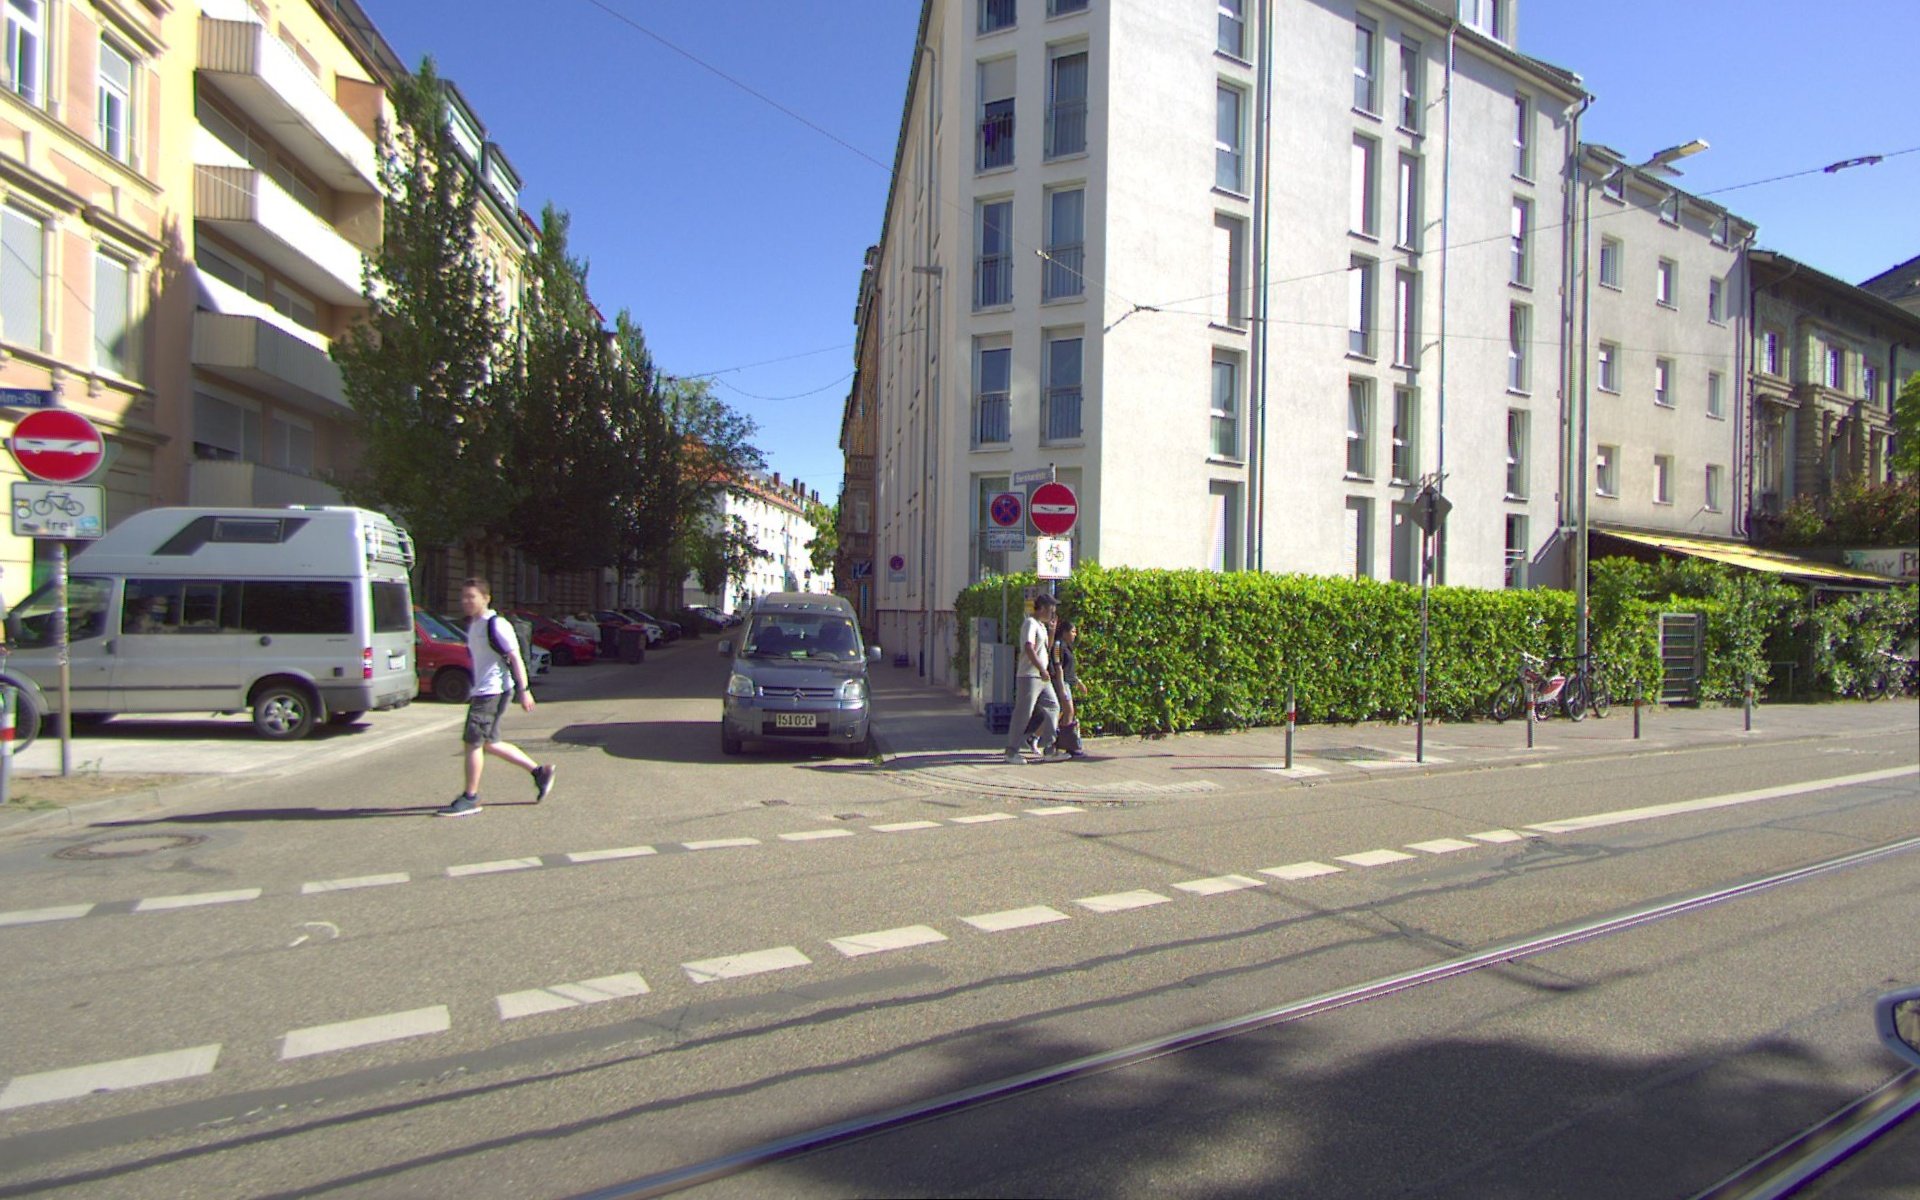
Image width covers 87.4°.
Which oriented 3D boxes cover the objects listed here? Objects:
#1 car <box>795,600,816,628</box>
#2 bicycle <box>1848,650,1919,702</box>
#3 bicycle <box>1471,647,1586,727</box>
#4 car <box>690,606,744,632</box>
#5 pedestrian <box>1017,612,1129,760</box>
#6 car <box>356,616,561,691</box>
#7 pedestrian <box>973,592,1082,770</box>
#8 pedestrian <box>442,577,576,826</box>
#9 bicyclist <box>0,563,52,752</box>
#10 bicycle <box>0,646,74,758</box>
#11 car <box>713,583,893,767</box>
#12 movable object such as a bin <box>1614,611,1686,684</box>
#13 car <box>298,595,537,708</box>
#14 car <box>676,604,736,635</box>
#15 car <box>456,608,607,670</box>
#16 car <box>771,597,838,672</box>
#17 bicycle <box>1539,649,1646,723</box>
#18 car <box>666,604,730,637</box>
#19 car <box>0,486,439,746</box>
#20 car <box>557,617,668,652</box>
[{"bbox_3d":[-14.372,1.321,93.502,1.782,2.449,3.994,2,-1,-9],"label":"car"},{"bbox_3d":[20.678,1.683,22.484,1.722,1.073,0.635,1,2,-30],"label":"bicycle"},{"bbox_3d":[8.751,1.320,15.449,1.818,1.104,0.658,2,2,-30],"label":"bicycle"},{"bbox_3d":[-19.405,1.540,80.311,3.928,1.867,1.997,2,-1,-9],"label":"car"},{"bbox_3d":[1.229,0.906,11.005,0.750,1.497,0.946,1,1,-37],"label":"pedestrian"},{"bbox_3d":[-10.570,1.127,21.402,3.529,1.419,1.573,2,-1,-9],"label":"car"},{"bbox_3d":[0.692,0.805,10.442,0.750,1.737,0.800,1,1,-37],"label":"pedestrian"},{"bbox_3d":[-3.489,0.739,7.759,0.856,1.791,0.688,1,-1,-30],"label":"pedestrian"},{"bbox_3d":[-10.028,0.555,10.150,0.968,1.878,0.705,2,-1,-10],"label":"bicyclist"},{"bbox_3d":[-10.217,0.996,10.110,1.802,1.069,0.705,2,-1,-10],"label":"bicycle"},{"bbox_3d":[-1.904,0.822,12.308,1.759,1.831,4.048,2,-1,-9],"label":"car"},{"bbox_3d":[14.442,0.973,21.021,1.244,1.476,0.802,1,-1,-32],"label":"movable object such as a bin"},{"bbox_3d":[-9.281,0.889,17.420,3.284,1.775,1.450,2,-1,-11],"label":"car"},{"bbox_3d":[-18.354,1.421,72.720,3.928,2.040,1.997,2,-1,-9],"label":"car"},{"bbox_3d":[-11.871,1.089,27.996,3.548,1.574,1.389,2,-1,-9],"label":"car"},{"bbox_3d":[-4.614,1.001,29.851,1.782,2.006,3.994,2,-1,-9],"label":"car"},{"bbox_3d":[10.348,1.387,16.420,1.818,1.104,0.658,2,2,-30],"label":"bicycle"},{"bbox_3d":[-17.594,1.408,67.640,3.928,2.040,1.997,2,-1,-9],"label":"car"},{"bbox_3d":[-9.392,0.244,12.522,4.702,2.878,1.888,2,-1,-14],"label":"car"},{"bbox_3d":[-13.382,1.337,38.838,3.788,1.202,1.390,2,-1,-9],"label":"car"}]
